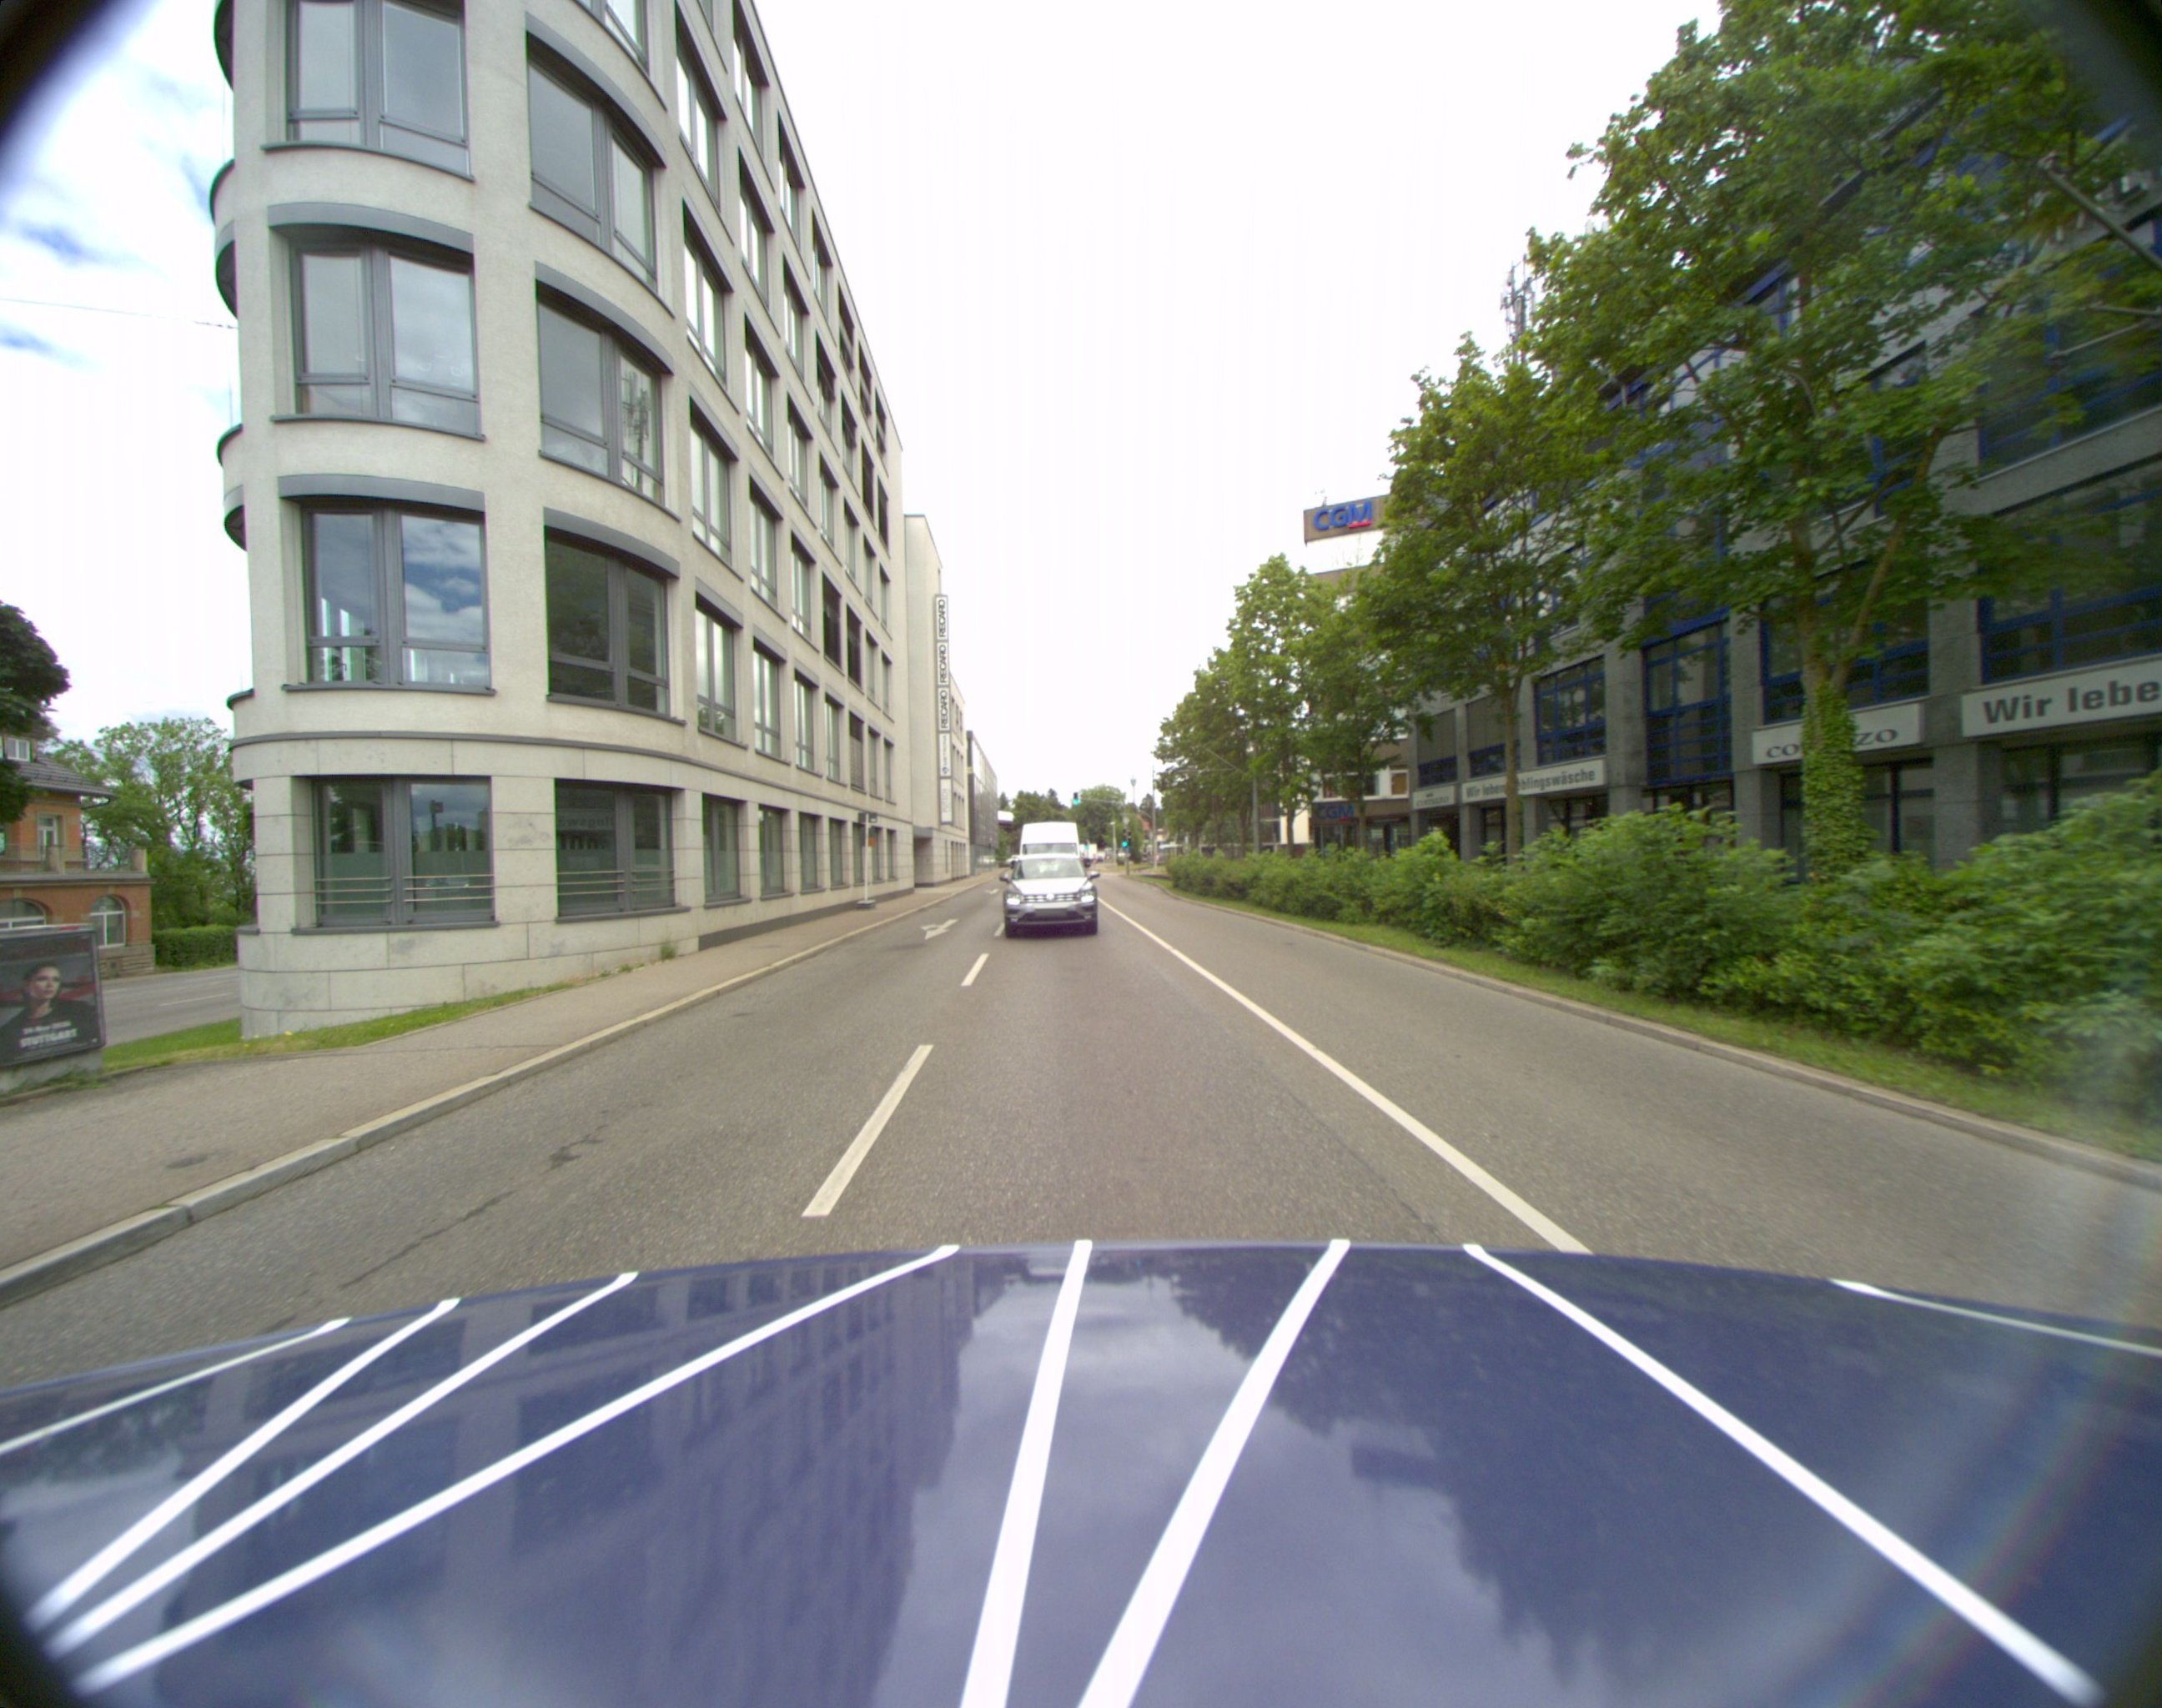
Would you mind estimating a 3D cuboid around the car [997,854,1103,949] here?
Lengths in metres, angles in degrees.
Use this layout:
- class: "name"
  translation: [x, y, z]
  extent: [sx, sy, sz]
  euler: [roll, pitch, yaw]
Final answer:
- class: "car"
  translation: [-0.654, 0.864, 16.088]
  extent: [1.834, 1.636, 4.325]
  euler: [-3, 0, -2]

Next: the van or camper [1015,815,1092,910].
- class: "van or camper"
  translation: [-0.915, 0.239, 25.378]
  extent: [2.110, 2.674, 6.297]
  euler: [-3, 0, -2]
